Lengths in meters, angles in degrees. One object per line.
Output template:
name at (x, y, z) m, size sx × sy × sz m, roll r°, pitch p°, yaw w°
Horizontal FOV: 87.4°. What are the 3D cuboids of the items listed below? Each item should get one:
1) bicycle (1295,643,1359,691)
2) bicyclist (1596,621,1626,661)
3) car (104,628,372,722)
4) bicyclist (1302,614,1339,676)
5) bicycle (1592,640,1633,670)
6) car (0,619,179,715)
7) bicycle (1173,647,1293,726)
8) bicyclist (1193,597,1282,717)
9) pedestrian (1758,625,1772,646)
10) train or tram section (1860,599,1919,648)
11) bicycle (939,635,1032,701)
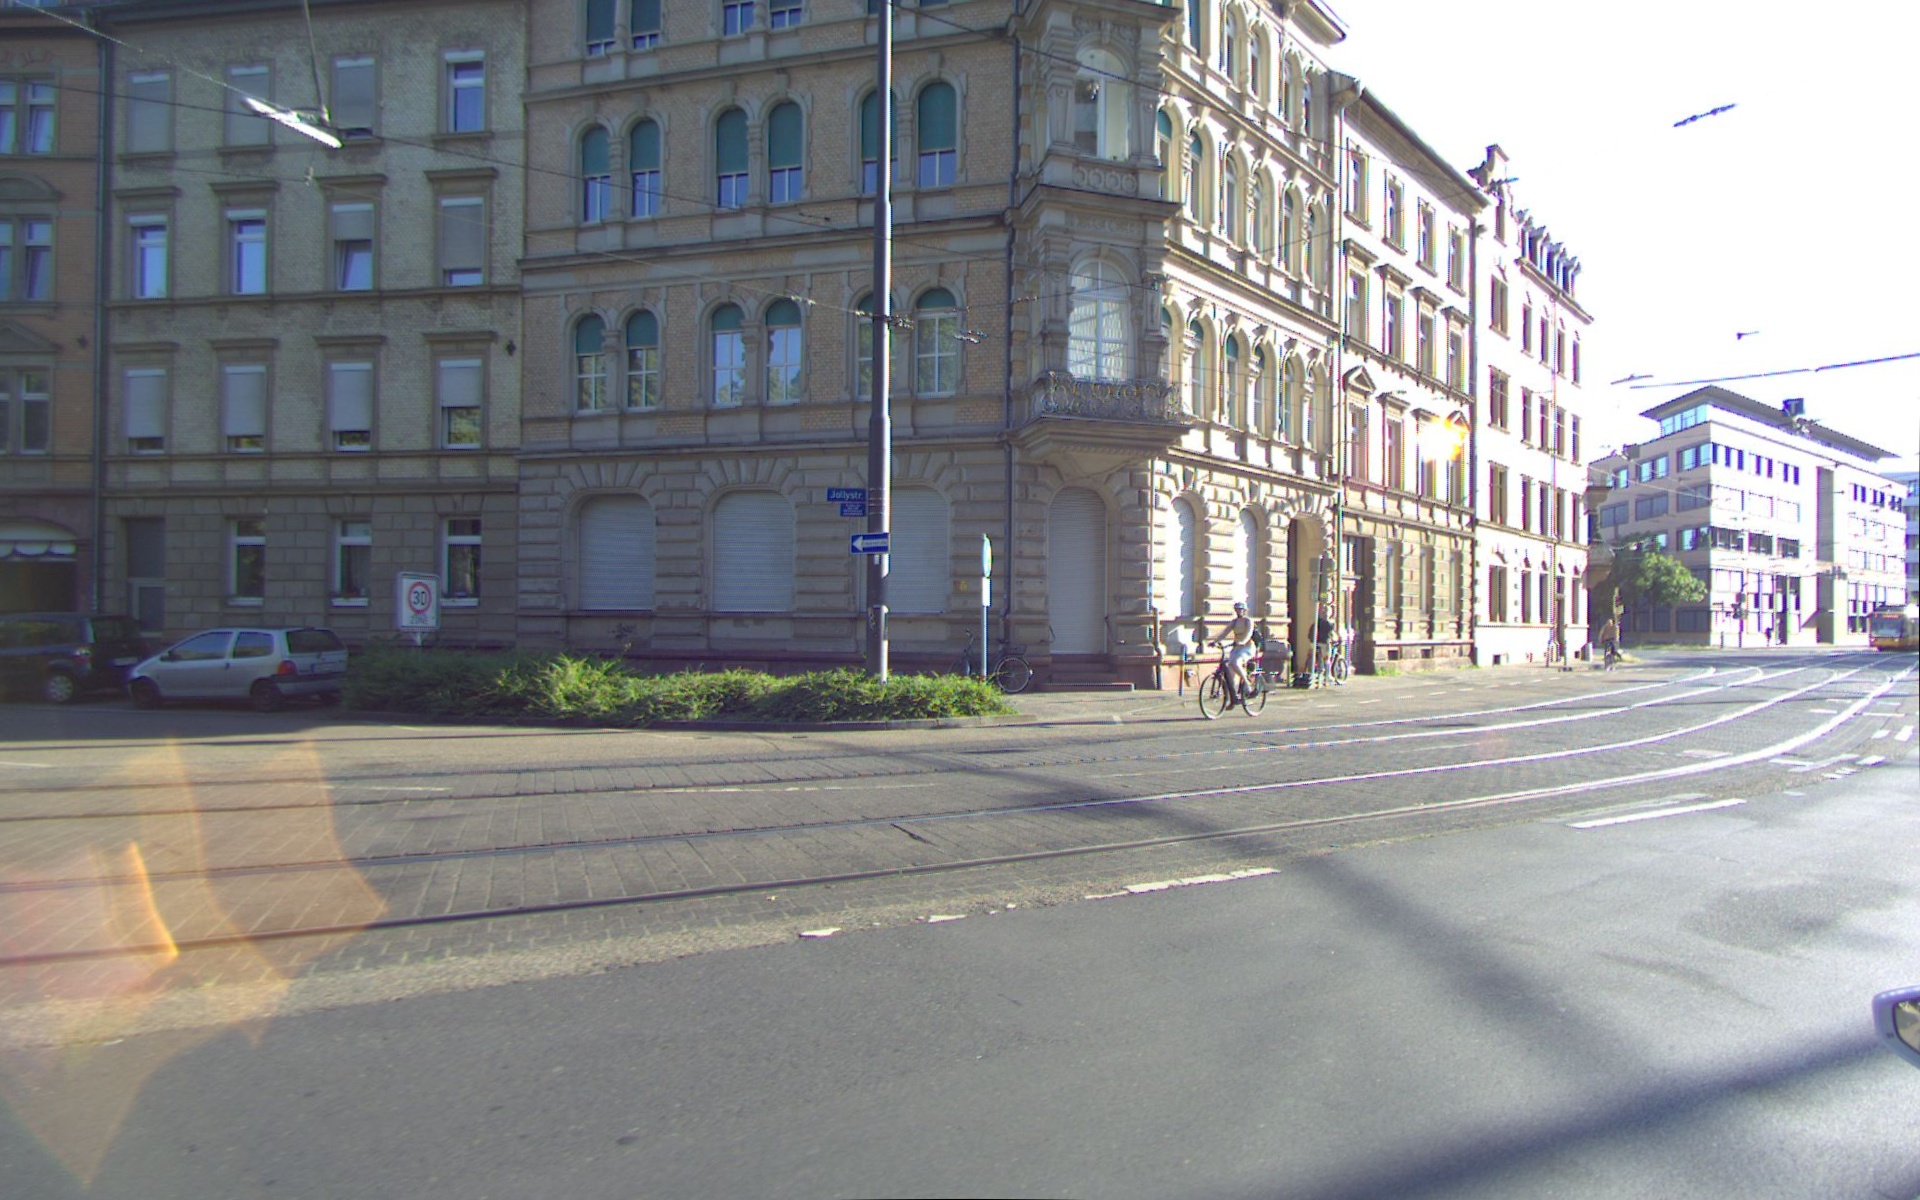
bicycle at (9.196, 1.653, 25.124) m, size 2.108 × 1.147 × 0.497 m, roll 2°, pitch -2°, yaw -40°
bicyclist at (24.973, 1.569, 38.525) m, size 0.796 × 1.534 × 0.834 m, roll 2°, pitch -2°, yaw -45°
car at (-12.508, 1.267, 17.530) m, size 3.424 × 1.448 × 1.858 m, roll -1°, pitch 1°, yaw 8°
bicyclist at (8.929, 1.103, 24.851) m, size 0.696 × 1.510 × 0.587 m, roll 2°, pitch -2°, yaw -39°
bicycle at (25.001, 2.082, 38.479) m, size 0.936 × 1.112 × 1.986 m, roll -1°, pitch -3°, yaw 45°
car at (-16.932, 1.202, 18.373) m, size 3.795 × 1.584 × 1.857 m, roll -1°, pitch 1°, yaw 0°
bicycle at (4.509, 1.375, 16.488) m, size 2.309 × 1.171 × 0.873 m, roll 2°, pitch -2°, yaw -45°
bicyclist at (4.637, 0.939, 16.765) m, size 1.019 × 1.915 × 1.106 m, roll -1°, pitch -3°, yaw 45°
pedestrian at (71.640, 3.130, 89.364) m, size 0.728 × 1.866 × 0.801 m, roll 1°, pitch -2°, yaw -34°
train or tram section at (74.636, 1.913, 79.287) m, size 14.133 × 3.621 × 2.227 m, roll 2°, pitch -2°, yaw -35°
bicycle at (0.504, 1.308, 19.591) m, size 1.755 × 1.222 × 0.503 m, roll 0°, pitch 1°, yaw 11°
